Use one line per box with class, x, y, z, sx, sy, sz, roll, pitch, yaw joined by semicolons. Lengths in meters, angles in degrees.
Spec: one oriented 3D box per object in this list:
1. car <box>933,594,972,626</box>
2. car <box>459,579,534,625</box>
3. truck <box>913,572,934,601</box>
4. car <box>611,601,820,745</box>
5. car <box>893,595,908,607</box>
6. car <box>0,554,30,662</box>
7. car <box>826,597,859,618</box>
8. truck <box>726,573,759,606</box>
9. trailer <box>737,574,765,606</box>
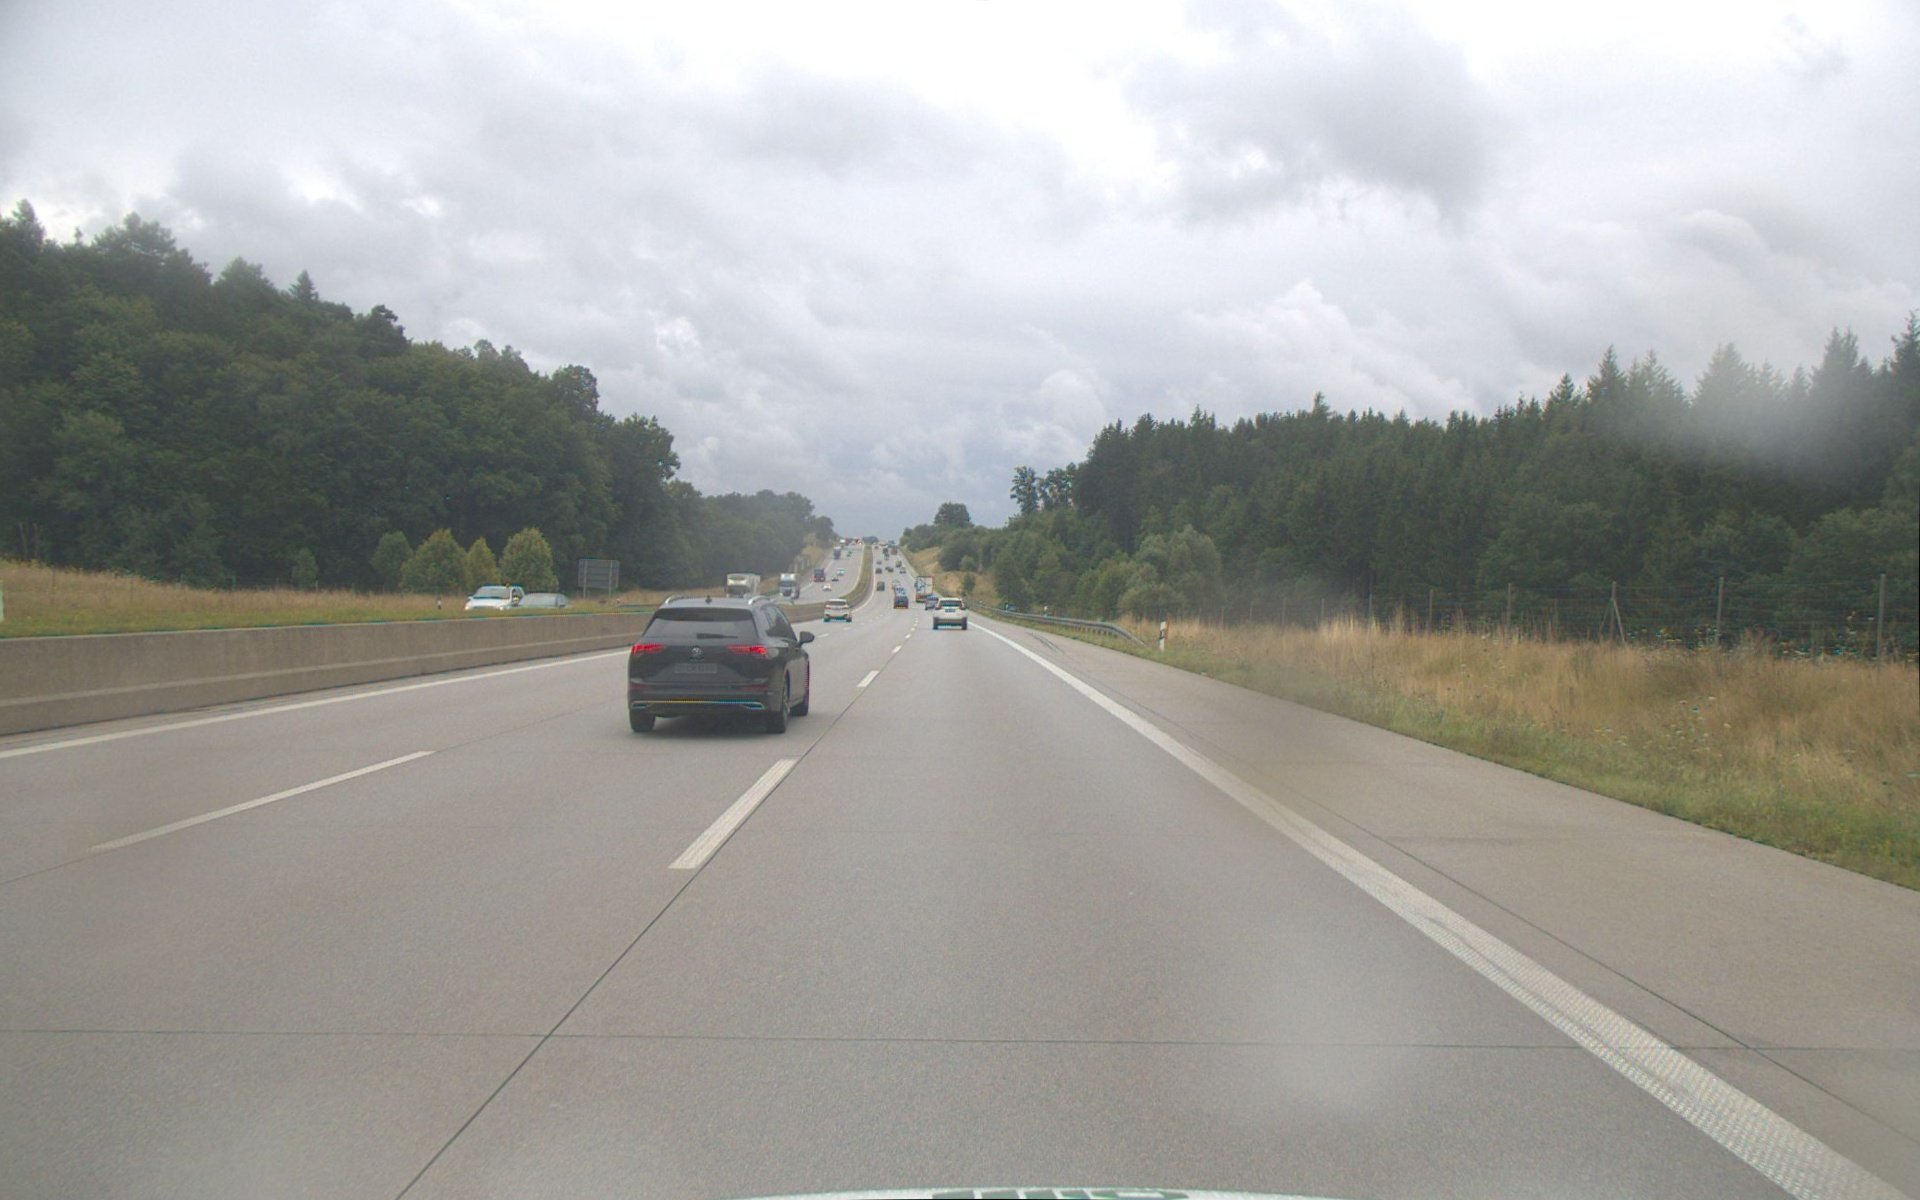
car;-0.406;0.511;87.300;1.790;1.684;3.981;0;0;-4
car;-19.106;0.080;68.321;1.953;1.831;4.390;1;0;-2
truck;-5.794;-2.192;260.696;2.957;4.252;8.350;1;2;-3
car;-2.687;0.748;19.165;1.716;1.422;4.484;1;0;0
car;-7.524;0.108;209.950;1.896;1.399;4.593;1;1;-2
car;-18.683;0.145;28.803;1.953;1.990;5.624;1;0;-2
car;-8.156;0.514;115.319;1.907;1.379;4.260;1;0;1
truck;-26.100;-1.230;199.058;2.756;3.839;11.347;1;0;-1
trailer;-26.314;-1.263;208.621;2.761;3.849;7.714;1;0;-1
